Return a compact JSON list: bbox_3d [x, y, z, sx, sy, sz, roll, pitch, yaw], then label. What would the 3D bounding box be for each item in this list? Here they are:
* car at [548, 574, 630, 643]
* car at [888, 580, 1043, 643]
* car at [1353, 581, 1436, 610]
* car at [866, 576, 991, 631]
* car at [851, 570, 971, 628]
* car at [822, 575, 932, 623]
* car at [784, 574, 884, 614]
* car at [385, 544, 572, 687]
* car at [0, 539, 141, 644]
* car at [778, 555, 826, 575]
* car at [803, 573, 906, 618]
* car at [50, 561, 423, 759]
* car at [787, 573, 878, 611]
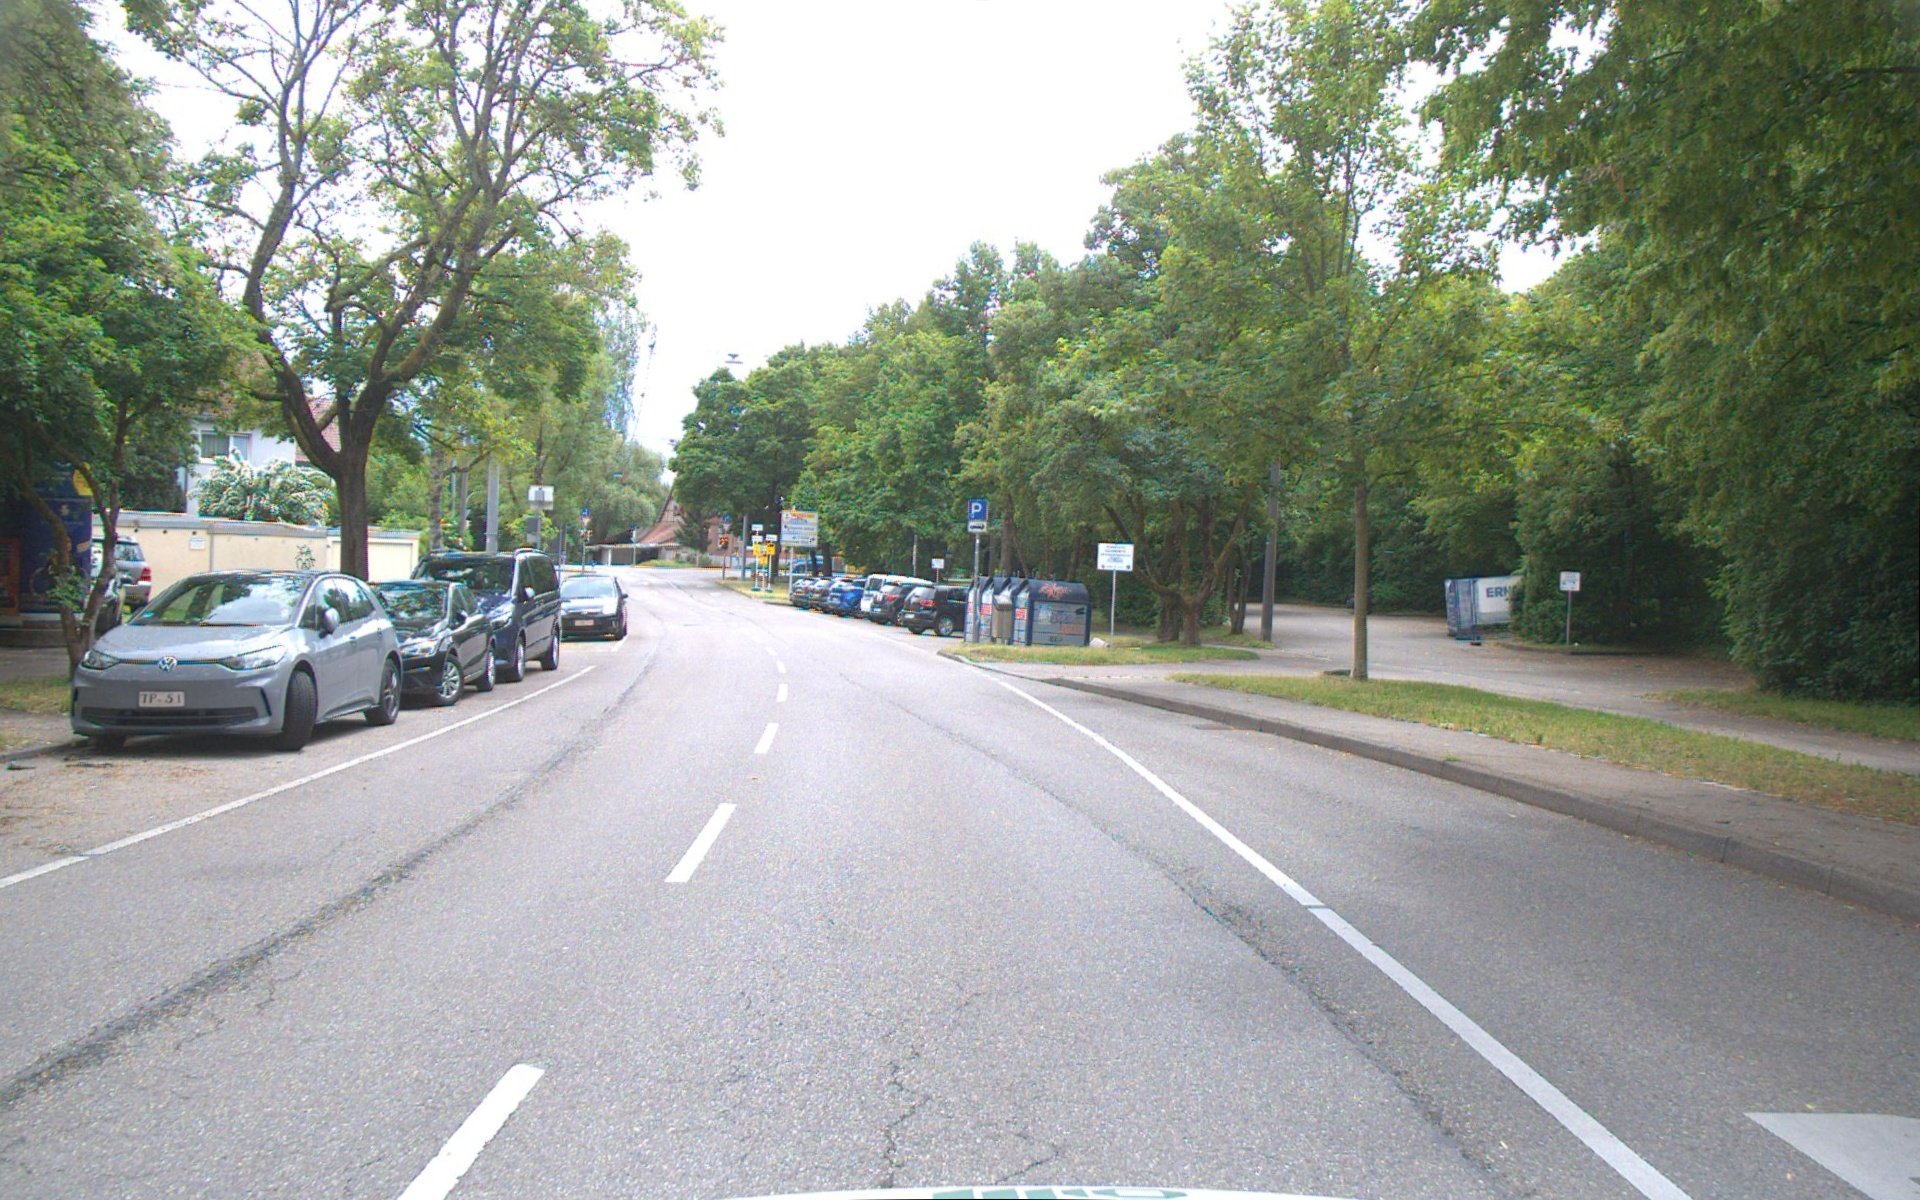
[{"bbox_3d":[-9.298,0.180,41.740,1.772,1.590,4.257,-2,1,-10],"label":"car"},{"bbox_3d":[0.166,0.341,47.908,3.947,1.438,2.037,5,1,-31],"label":"car"},{"bbox_3d":[23.201,-0.250,88.444,3.910,1.434,1.798,1,1,-6],"label":"car"},{"bbox_3d":[-1.057,0.123,55.934,3.780,1.493,1.728,5,0,-31],"label":"car"},{"bbox_3d":[-1.740,-0.022,58.731,3.780,1.750,1.859,5,-1,-31],"label":"car"},{"bbox_3d":[-3.183,-0.046,63.292,3.780,1.555,1.728,5,-1,-31],"label":"car"},{"bbox_3d":[-5.414,-0.256,71.049,3.834,1.451,1.811,5,-1,-31],"label":"car"},{"bbox_3d":[-7.282,0.185,25.506,1.822,1.942,5.077,1,1,-6],"label":"car"},{"bbox_3d":[-14.867,-0.173,27.765,1.751,1.503,3.960,5,-1,-25],"label":"car"},{"bbox_3d":[-14.087,-3.122,147.518,3.809,1.676,1.978,1,2,-33],"label":"car"},{"bbox_3d":[-4.337,-0.170,68.090,3.780,1.555,1.728,5,-1,-31],"label":"car"},{"bbox_3d":[-6.537,0.465,15.499,1.829,1.565,4.224,1,1,-4],"label":"car"},{"bbox_3d":[-5.842,-0.354,75.840,3.780,1.450,1.728,5,-1,-31],"label":"car"}]
